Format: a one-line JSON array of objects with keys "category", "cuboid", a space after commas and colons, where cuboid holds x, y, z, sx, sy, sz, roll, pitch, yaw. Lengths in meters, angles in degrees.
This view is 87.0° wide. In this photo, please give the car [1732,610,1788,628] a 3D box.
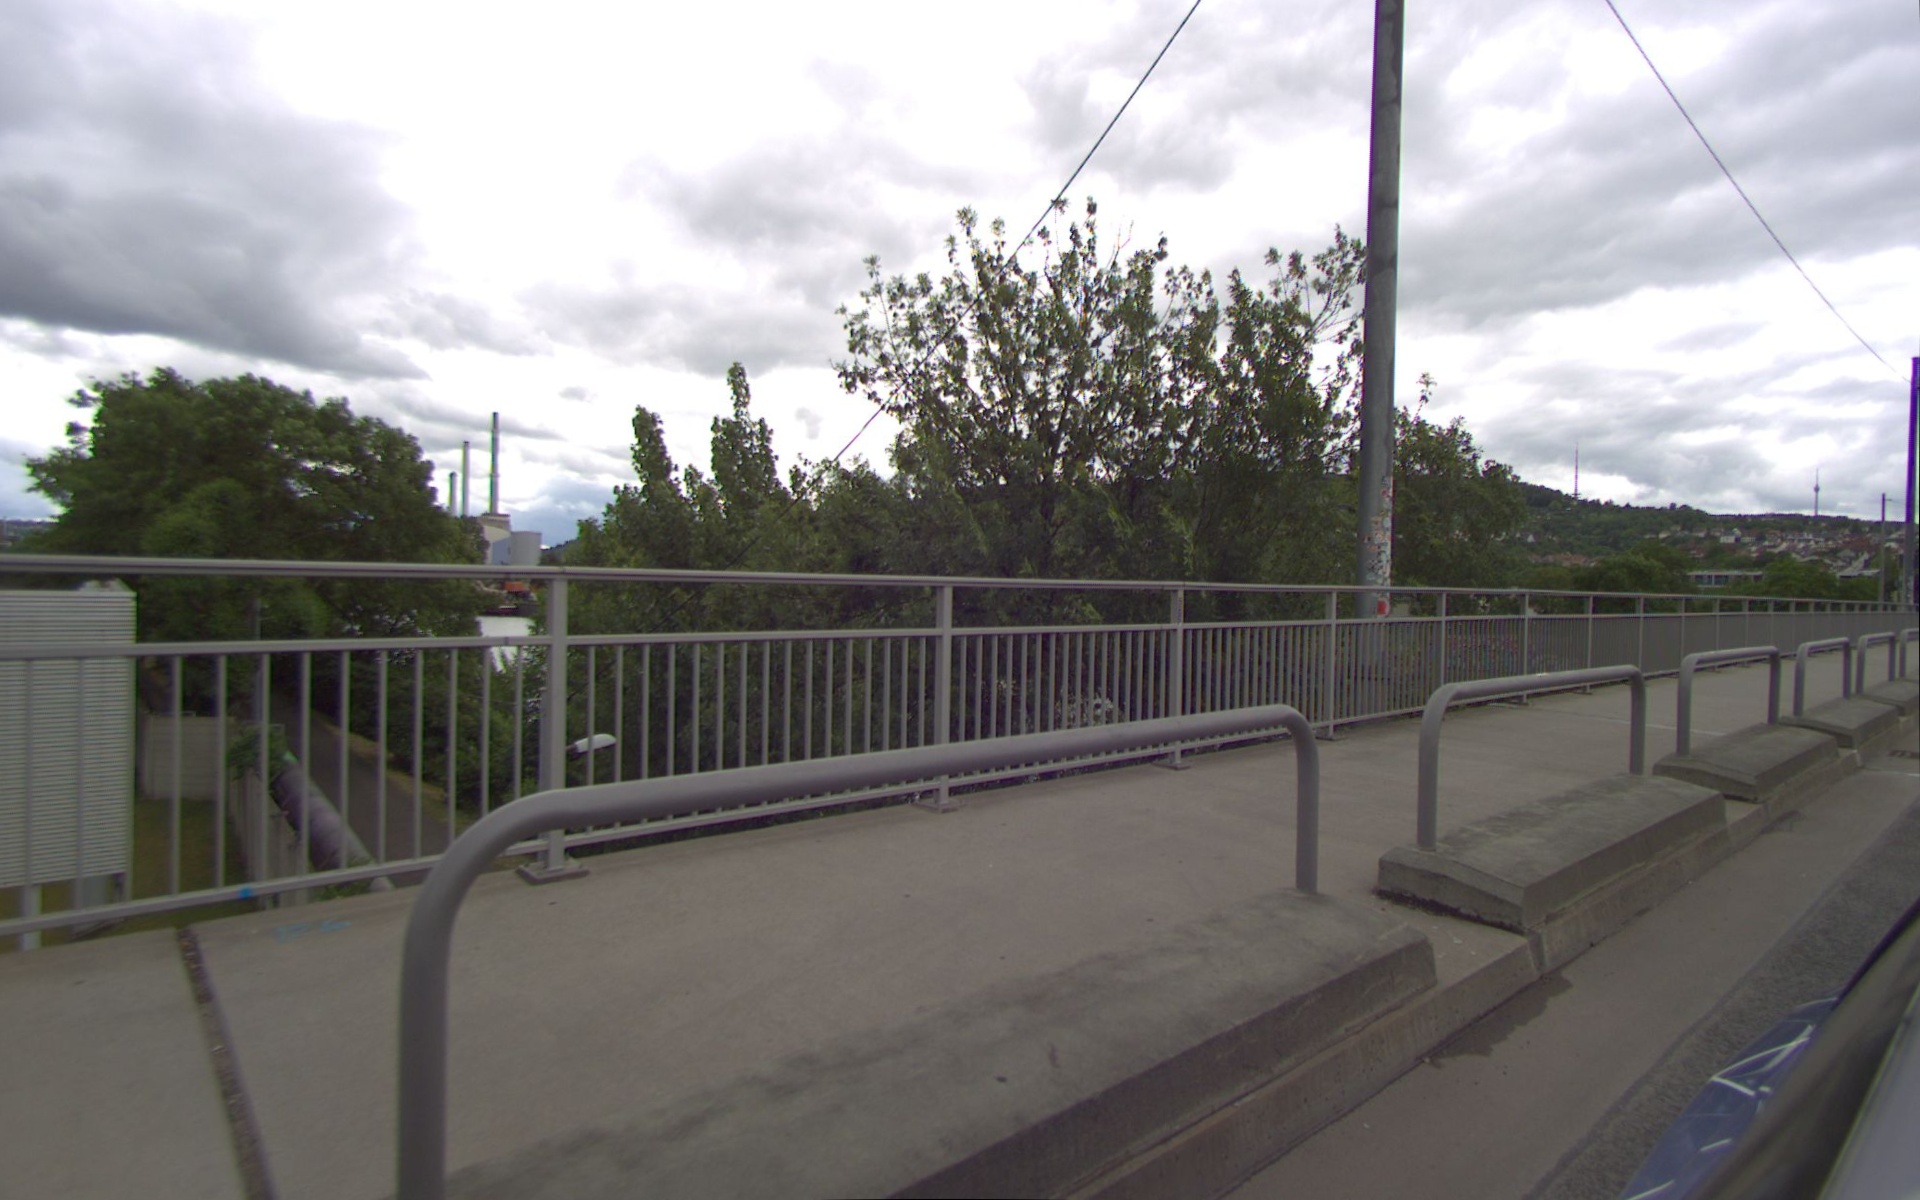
[{"category": "car", "cuboid": [69.684, 1.622, 88.183, 1.667, 1.559, 3.616, 0, -1, -42]}]

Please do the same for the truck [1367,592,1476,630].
[{"category": "truck", "cuboid": [50.149, 1.137, 110.199, 3.173, 3.928, 10.403, 1, -1, -43]}]

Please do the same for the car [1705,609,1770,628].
[{"category": "car", "cuboid": [70.510, 1.671, 91.826, 1.965, 1.640, 4.335, -1, 0, -41]}]

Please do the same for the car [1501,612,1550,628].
[{"category": "car", "cuboid": [57.079, 2.043, 102.213, 1.667, 1.559, 4.039, 0, -1, -42]}]
